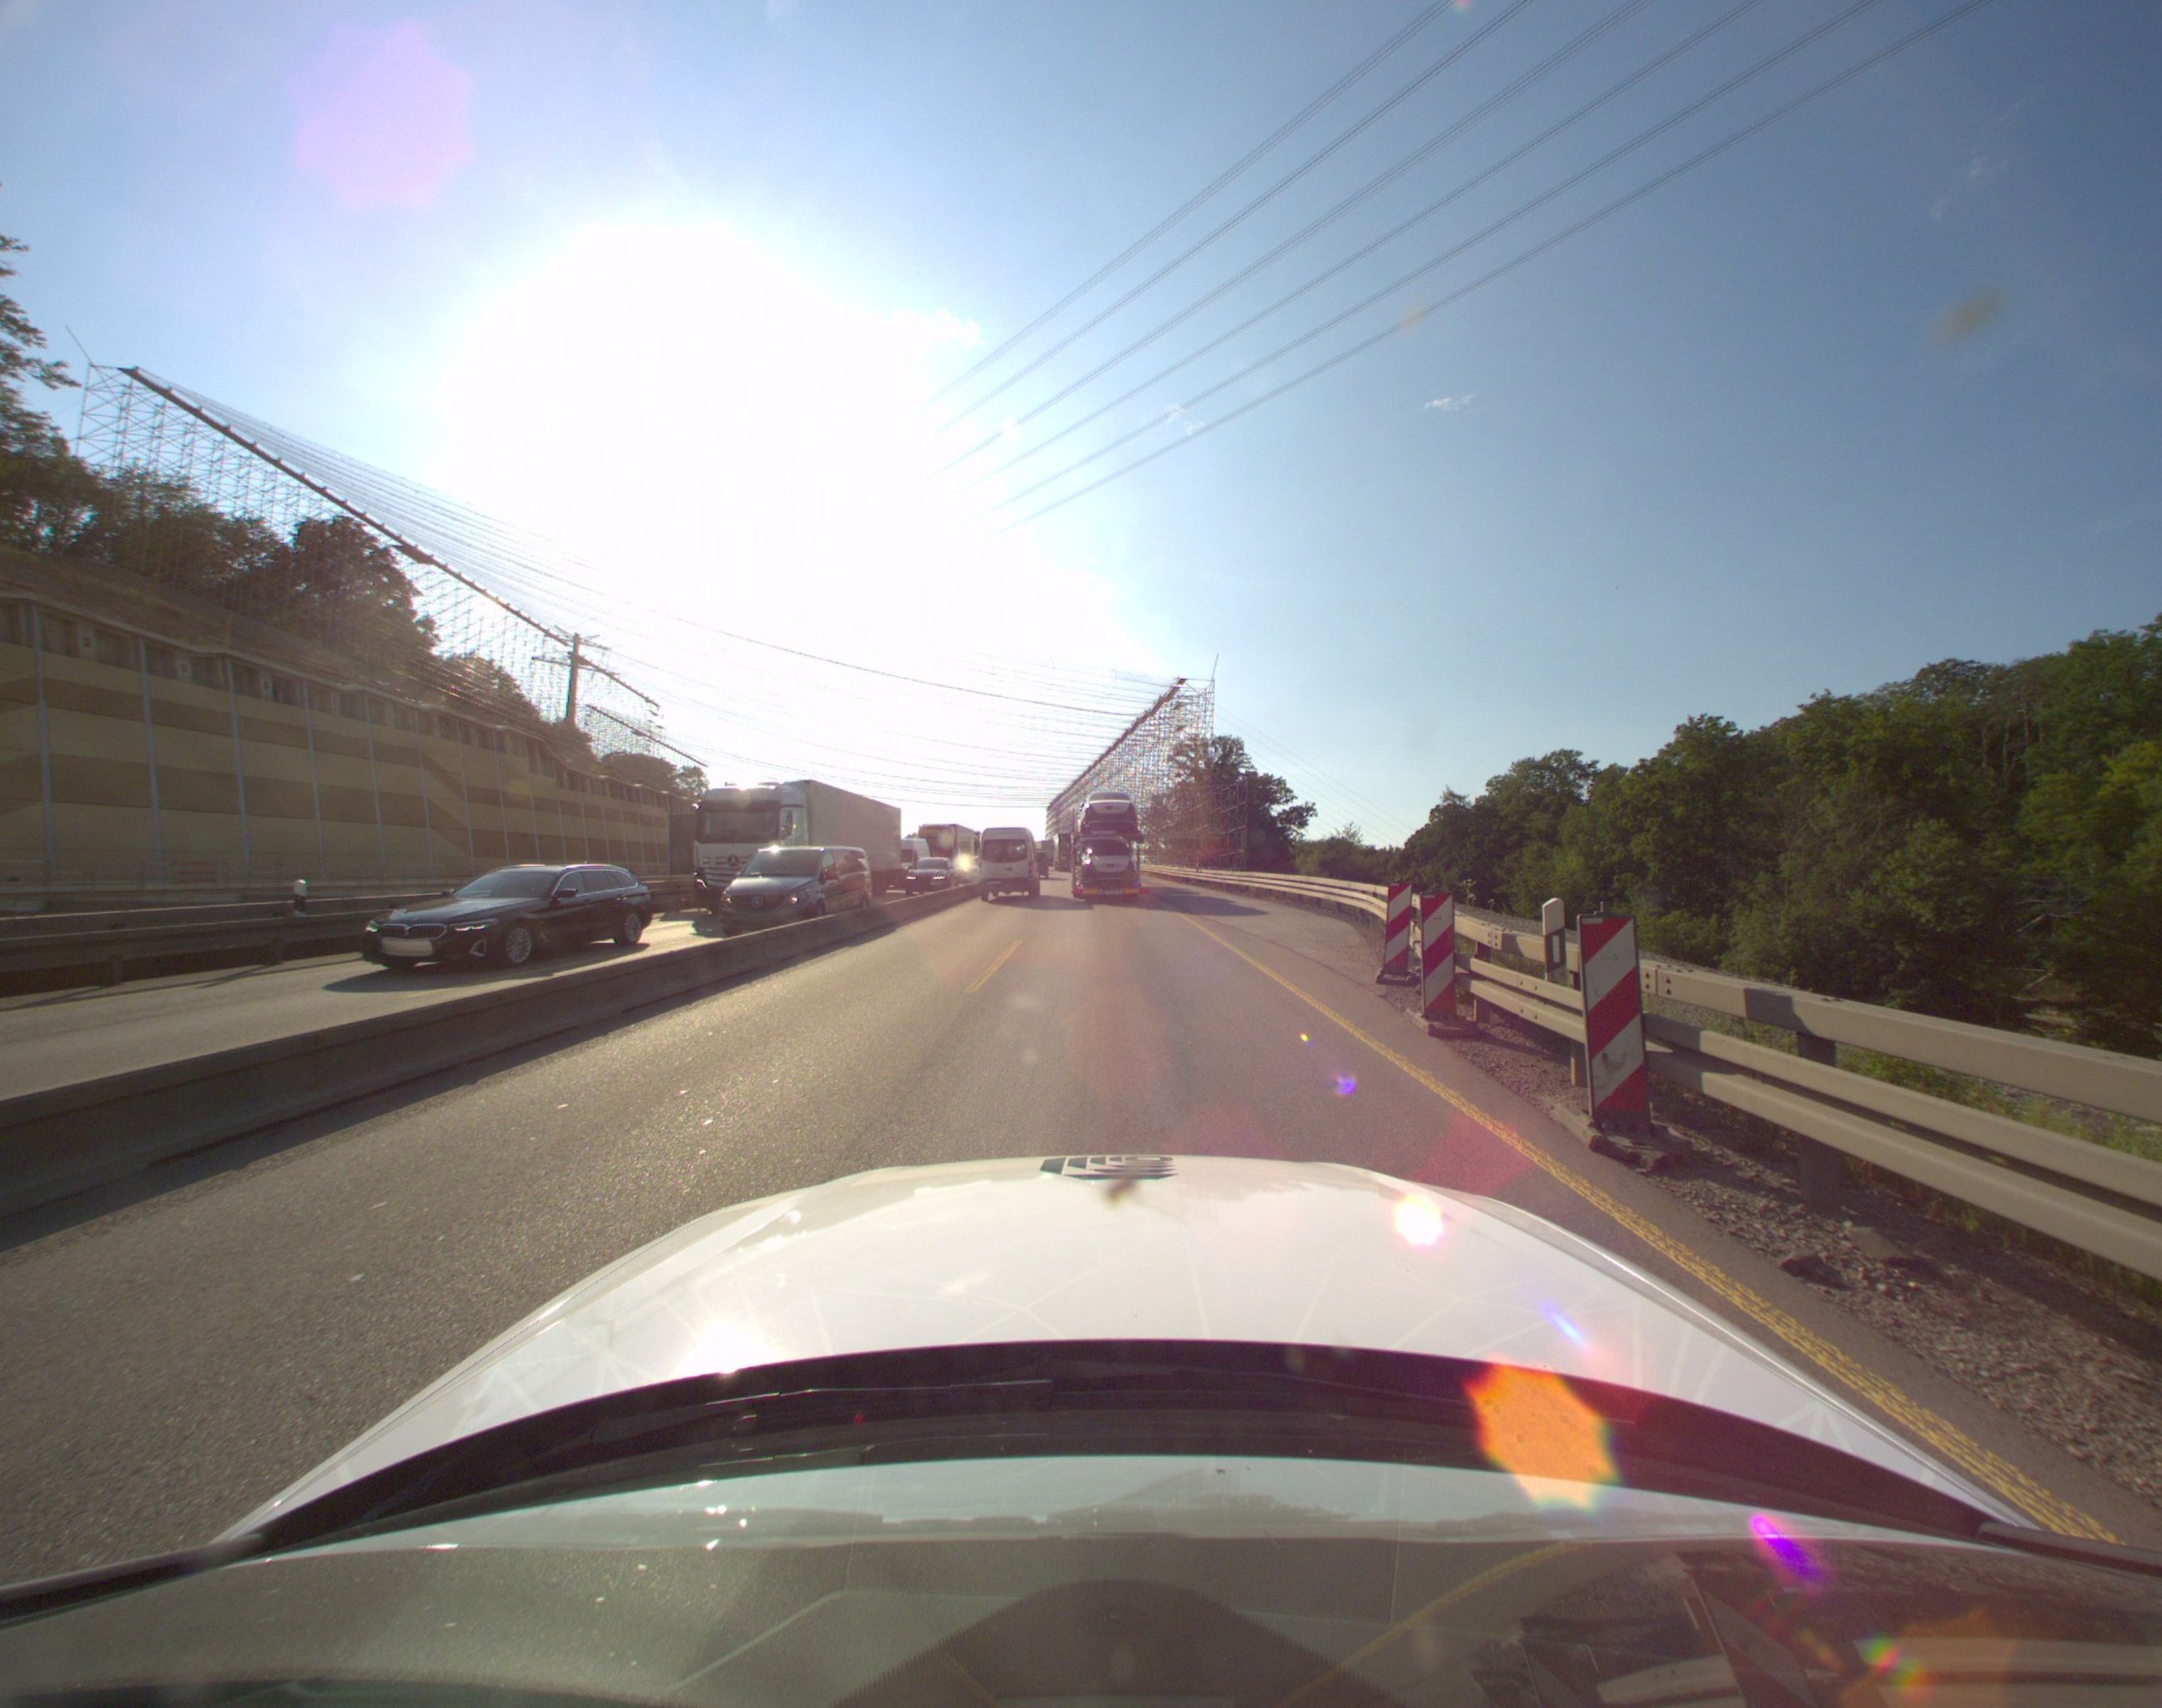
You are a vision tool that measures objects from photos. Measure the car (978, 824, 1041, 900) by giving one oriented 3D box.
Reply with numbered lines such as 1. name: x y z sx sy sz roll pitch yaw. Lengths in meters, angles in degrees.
1. car: -2.583 0.303 30.345 1.950 2.621 3.999 -1 -1 0

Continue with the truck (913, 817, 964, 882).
1. truck: -9.999 -0.276 57.669 2.739 4.300 5.927 -1 -1 -3

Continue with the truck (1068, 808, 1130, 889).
1. truck: 0.830 -0.222 41.545 2.873 3.702 7.323 -1 -1 0

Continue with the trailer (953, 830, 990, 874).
1. trailer: -11.354 -0.138 85.655 2.793 4.141 13.946 -1 0 -4

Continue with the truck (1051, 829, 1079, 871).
1. truck: -1.656 -0.438 89.941 2.723 4.385 11.521 0 0 1

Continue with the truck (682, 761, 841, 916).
1. truck: -9.558 -0.407 25.058 2.705 4.218 5.679 -1 -1 -1

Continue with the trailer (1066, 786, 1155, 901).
1. trailer: 0.891 -0.286 33.955 2.860 3.725 14.941 -1 0 -1

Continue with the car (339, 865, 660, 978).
1. car: -8.981 0.925 13.215 1.737 1.460 4.714 -1 -1 1

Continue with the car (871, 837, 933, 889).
1. car: -9.859 0.429 45.510 2.016 2.690 6.947 0 1 -1

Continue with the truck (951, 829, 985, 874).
1. truck: -10.929 -0.186 78.919 2.782 4.141 5.925 -1 -1 -4

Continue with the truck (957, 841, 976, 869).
1. truck: -17.947 0.218 127.430 2.662 4.230 6.085 -1 0 -9

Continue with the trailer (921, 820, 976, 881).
1. trailer: -10.345 -0.205 64.984 2.759 4.334 13.865 -1 0 -3

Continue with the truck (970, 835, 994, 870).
1. truck: -12.020 -0.155 98.674 2.785 4.141 6.663 -1 -1 -7

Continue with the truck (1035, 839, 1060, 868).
1. truck: -5.361 -0.039 131.842 3.677 4.220 13.658 -3 0 -2

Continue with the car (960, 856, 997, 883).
1. car: -6.693 0.975 53.727 1.864 1.588 4.801 1 1 -1

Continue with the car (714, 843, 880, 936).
1. car: -6.155 0.644 18.478 1.798 1.772 5.453 0 1 0

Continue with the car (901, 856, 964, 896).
1. car: -6.355 0.919 35.378 1.881 1.568 4.455 0 0 0

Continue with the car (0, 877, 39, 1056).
1. car: -9.520 0.877 4.402 1.742 1.422 4.611 0 -1 2

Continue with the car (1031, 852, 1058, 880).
1. car: -2.720 0.869 60.661 1.989 2.014 3.995 0 -1 -3

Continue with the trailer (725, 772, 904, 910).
1. trailer: -9.684 -0.352 31.949 2.713 4.218 13.741 -1 0 -1
